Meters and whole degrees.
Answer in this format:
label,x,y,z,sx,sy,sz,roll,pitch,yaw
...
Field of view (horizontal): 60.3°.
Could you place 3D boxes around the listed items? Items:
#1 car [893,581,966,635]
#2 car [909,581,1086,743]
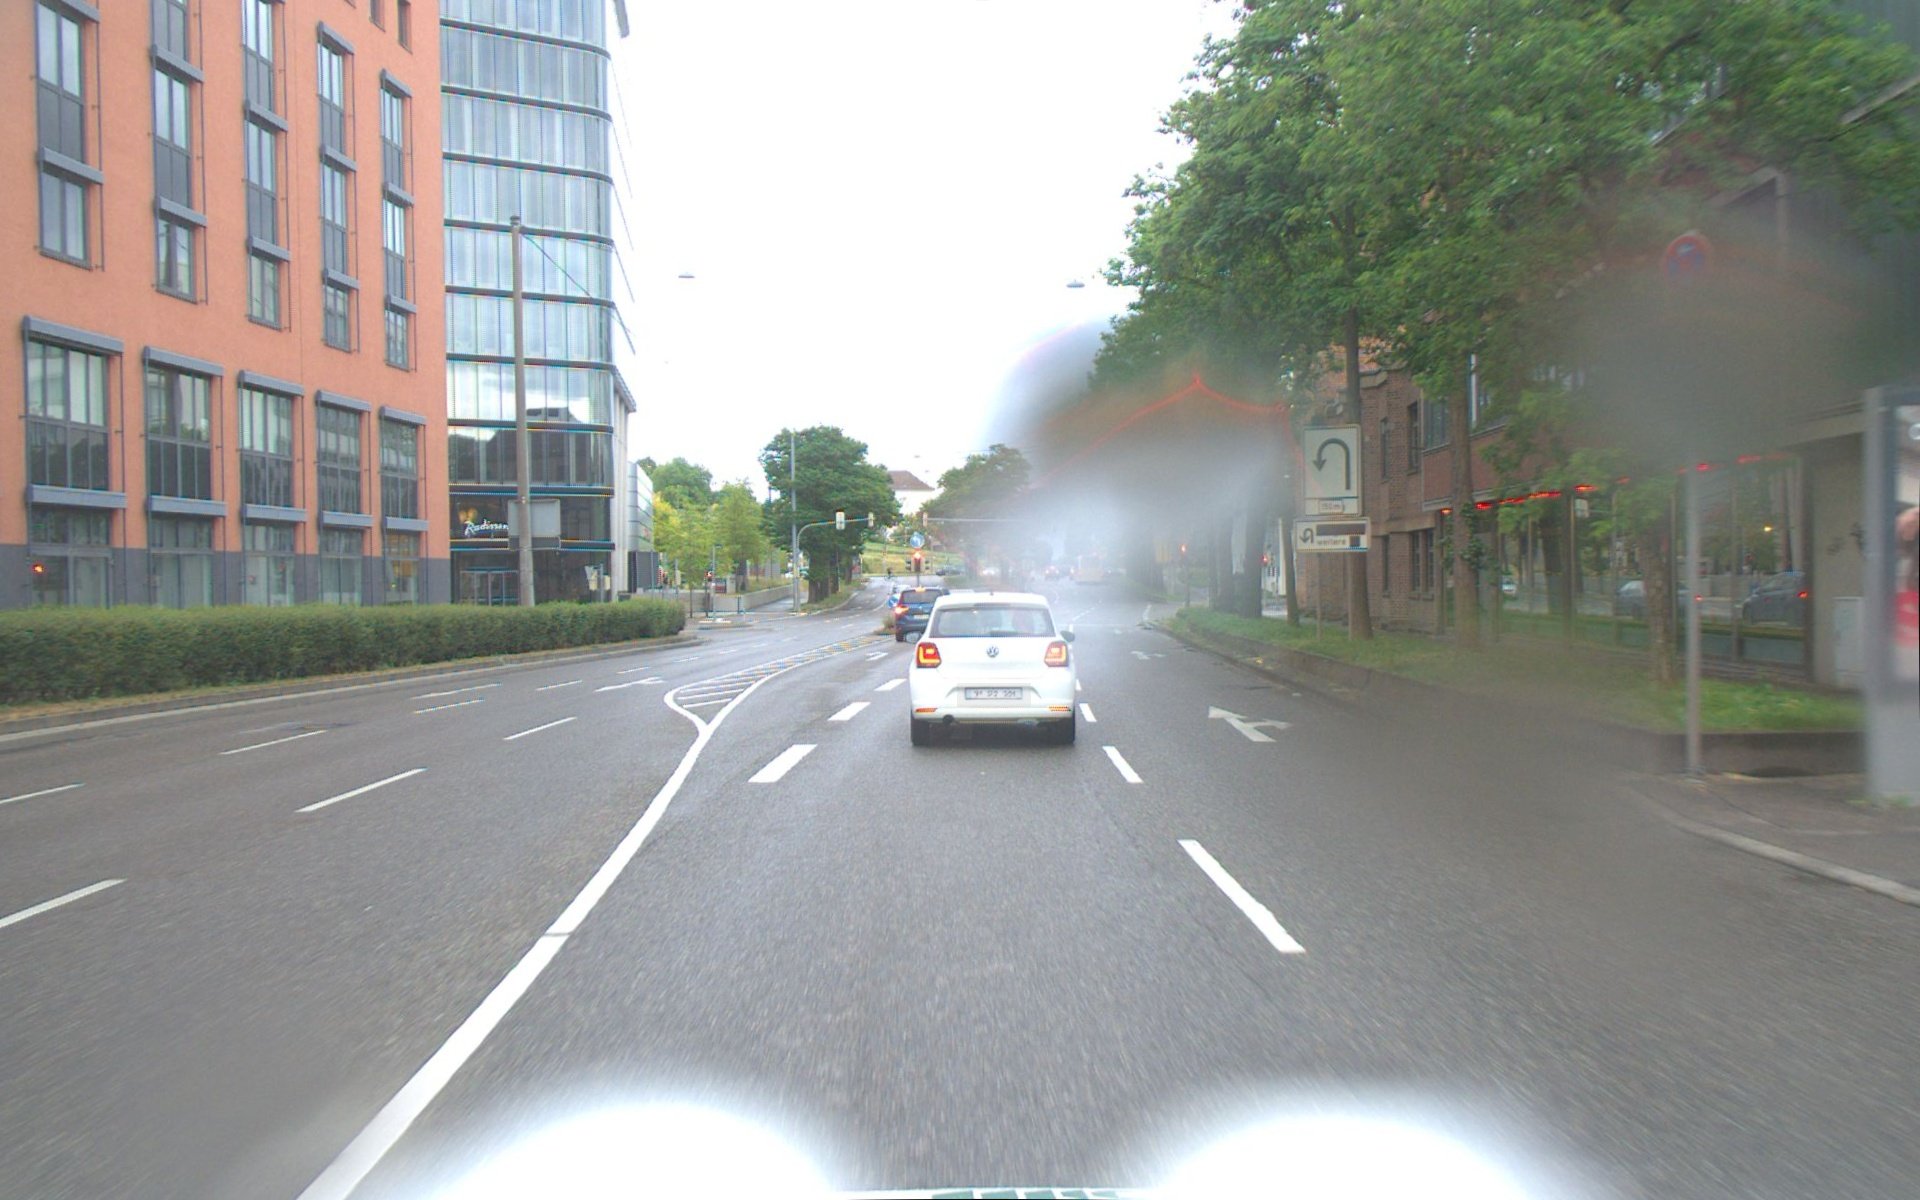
label,x,y,z,sx,sy,sz,roll,pitch,yaw
car,-0.918,0.239,52.224,1.952,1.601,4.002,-1,0,3
car,0.385,0.567,17.302,1.636,1.499,3.780,-1,0,1
